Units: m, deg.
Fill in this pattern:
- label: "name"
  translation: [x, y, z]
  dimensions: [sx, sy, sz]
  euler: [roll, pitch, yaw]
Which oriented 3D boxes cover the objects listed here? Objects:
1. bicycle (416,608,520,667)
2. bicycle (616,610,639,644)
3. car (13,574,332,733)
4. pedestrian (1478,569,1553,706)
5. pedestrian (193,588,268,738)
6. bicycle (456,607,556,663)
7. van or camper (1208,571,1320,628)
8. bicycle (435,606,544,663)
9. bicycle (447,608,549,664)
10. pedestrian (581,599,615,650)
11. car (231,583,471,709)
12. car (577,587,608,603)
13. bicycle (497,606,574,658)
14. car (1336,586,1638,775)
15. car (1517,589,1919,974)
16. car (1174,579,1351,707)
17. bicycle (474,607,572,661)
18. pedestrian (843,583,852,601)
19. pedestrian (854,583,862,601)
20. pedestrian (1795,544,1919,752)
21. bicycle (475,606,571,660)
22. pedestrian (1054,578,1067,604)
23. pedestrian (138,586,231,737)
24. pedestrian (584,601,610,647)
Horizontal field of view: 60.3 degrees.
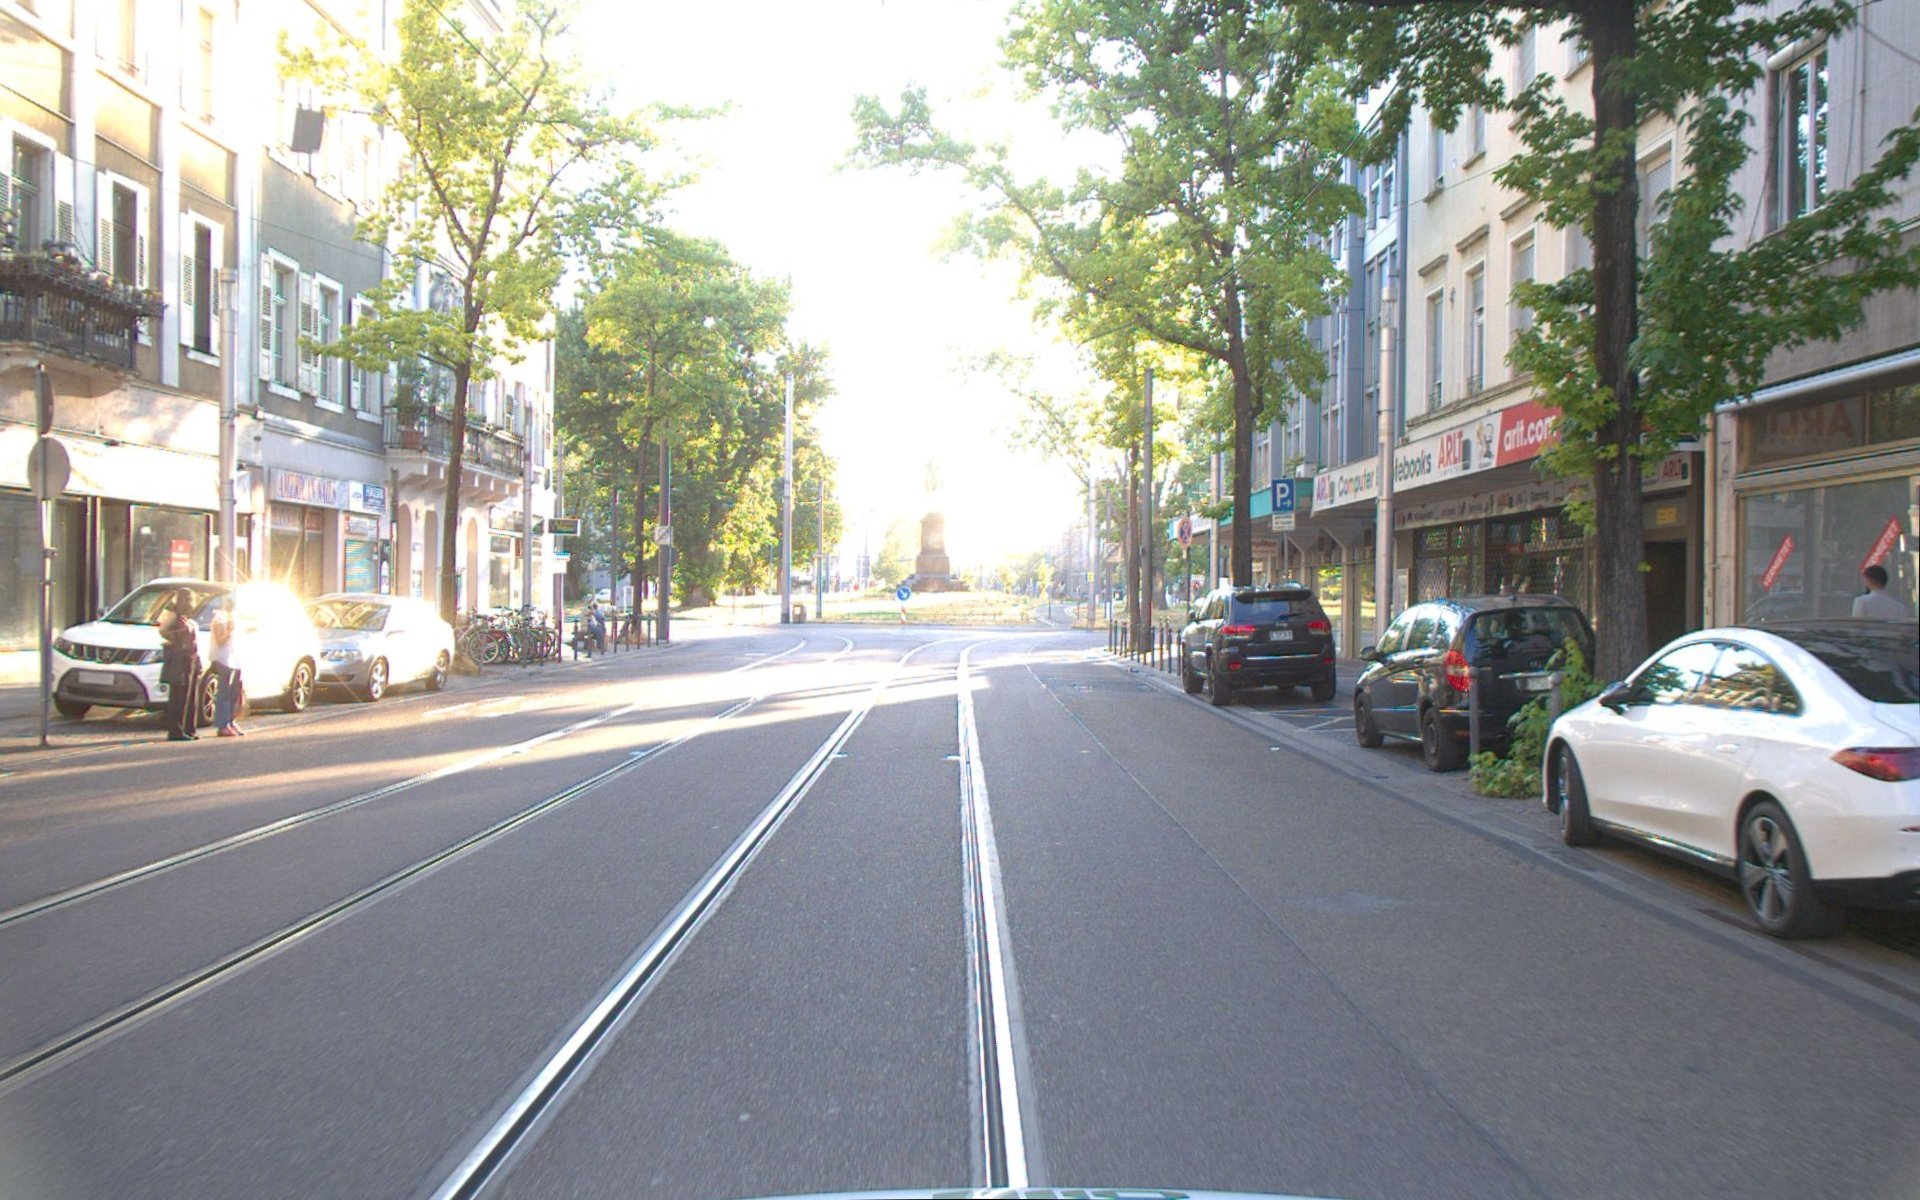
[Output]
- label: "bicycle"
  translation: [-9.966, 0.755, 33.510]
  dimensions: [1.921, 1.124, 0.563]
  euler: [3, -1, -26]
- label: "bicycle"
  translation: [-9.786, 0.779, 48.701]
  dimensions: [0.329, 0.962, 1.510]
  euler: [0, 0, 1]
- label: "car"
  translation: [-9.410, 0.579, 20.173]
  dimensions: [1.799, 1.607, 4.116]
  euler: [4, 0, 0]
- label: "pedestrian"
  translation: [7.139, 0.473, 21.295]
  dimensions: [0.630, 1.699, 0.786]
  euler: [-3, 0, 0]
- label: "pedestrian"
  translation: [-7.914, 0.677, 17.964]
  dimensions: [0.510, 1.596, 0.634]
  euler: [0, -1, 0]
- label: "bicycle"
  translation: [-9.776, 0.753, 35.635]
  dimensions: [1.998, 1.124, 0.497]
  euler: [3, -1, -26]
- label: "van or camper"
  translation: [14.057, -0.071, 76.097]
  dimensions: [2.564, 2.515, 6.294]
  euler: [1, 1, 37]
- label: "bicycle"
  translation: [-9.782, 0.721, 34.409]
  dimensions: [2.082, 1.124, 0.497]
  euler: [3, -1, -26]
- label: "bicycle"
  translation: [-9.779, 0.767, 35.053]
  dimensions: [1.998, 1.124, 0.497]
  euler: [3, -1, -26]
- label: "pedestrian"
  translation: [-9.491, 0.634, 43.399]
  dimensions: [0.713, 1.313, 0.856]
  euler: [1, 0, -3]
- label: "car"
  translation: [-9.103, 0.629, 25.192]
  dimensions: [1.799, 1.607, 4.702]
  euler: [4, 0, 0]
- label: "car"
  translation: [-34.474, -0.488, 155.137]
  dimensions: [1.838, 1.445, 3.926]
  euler: [0, 0, 2]
- label: "bicycle"
  translation: [-9.756, 0.734, 37.972]
  dimensions: [1.989, 1.124, 0.499]
  euler: [2, -1, 35]
- label: "car"
  translation: [5.232, 0.721, 16.963]
  dimensions: [1.740, 1.618, 3.891]
  euler: [-3, 0, -1]
- label: "car"
  translation: [4.904, 0.748, 9.301]
  dimensions: [1.953, 1.524, 4.680]
  euler: [-3, 0, 1]
- label: "car"
  translation: [4.772, 0.625, 26.771]
  dimensions: [1.899, 1.790, 4.679]
  euler: [-3, 0, 0]
- label: "bicycle"
  translation: [-9.642, 0.750, 36.515]
  dimensions: [1.981, 1.124, 0.501]
  euler: [2, -1, 2]
- label: "pedestrian"
  translation: [-10.382, -0.752, 152.842]
  dimensions: [0.754, 1.634, 0.637]
  euler: [0, 0, -7]
- label: "pedestrian"
  translation: [-9.396, -0.743, 152.457]
  dimensions: [0.754, 1.634, 0.637]
  euler: [0, 0, -7]
- label: "pedestrian"
  translation: [8.200, 0.411, 14.864]
  dimensions: [0.840, 1.783, 0.932]
  euler: [-3, 0, 0]
- label: "bicycle"
  translation: [-9.801, 0.743, 37.100]
  dimensions: [1.981, 1.124, 0.501]
  euler: [2, -1, 2]
- label: "pedestrian"
  translation: [6.211, -0.554, 102.259]
  dimensions: [0.623, 1.634, 0.772]
  euler: [0, 0, 20]
- label: "pedestrian"
  translation: [-8.045, 0.634, 17.184]
  dimensions: [0.607, 1.536, 0.729]
  euler: [0, -1, 0]
- label: "pedestrian"
  translation: [-9.885, 0.645, 45.037]
  dimensions: [0.579, 1.214, 0.641]
  euler: [1, 0, -3]
